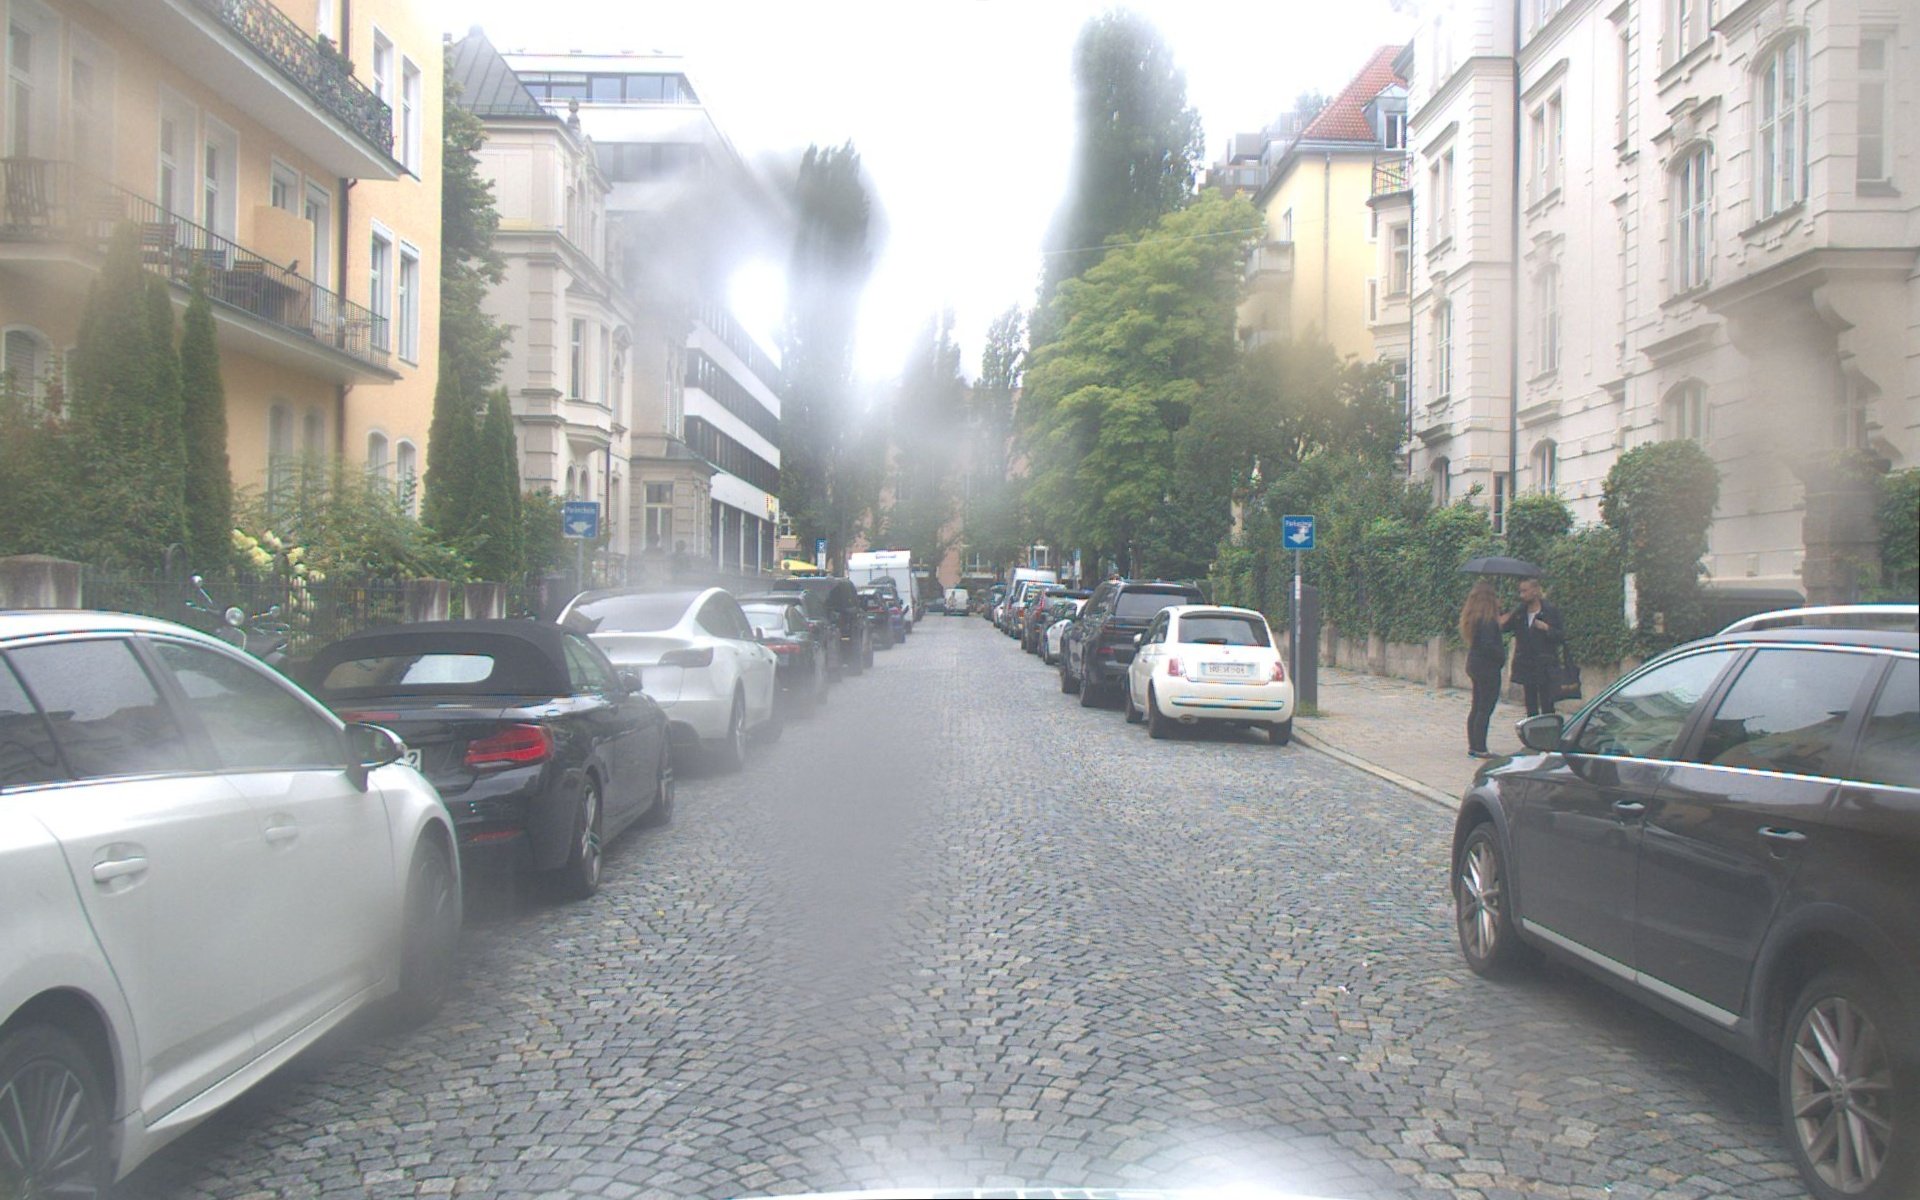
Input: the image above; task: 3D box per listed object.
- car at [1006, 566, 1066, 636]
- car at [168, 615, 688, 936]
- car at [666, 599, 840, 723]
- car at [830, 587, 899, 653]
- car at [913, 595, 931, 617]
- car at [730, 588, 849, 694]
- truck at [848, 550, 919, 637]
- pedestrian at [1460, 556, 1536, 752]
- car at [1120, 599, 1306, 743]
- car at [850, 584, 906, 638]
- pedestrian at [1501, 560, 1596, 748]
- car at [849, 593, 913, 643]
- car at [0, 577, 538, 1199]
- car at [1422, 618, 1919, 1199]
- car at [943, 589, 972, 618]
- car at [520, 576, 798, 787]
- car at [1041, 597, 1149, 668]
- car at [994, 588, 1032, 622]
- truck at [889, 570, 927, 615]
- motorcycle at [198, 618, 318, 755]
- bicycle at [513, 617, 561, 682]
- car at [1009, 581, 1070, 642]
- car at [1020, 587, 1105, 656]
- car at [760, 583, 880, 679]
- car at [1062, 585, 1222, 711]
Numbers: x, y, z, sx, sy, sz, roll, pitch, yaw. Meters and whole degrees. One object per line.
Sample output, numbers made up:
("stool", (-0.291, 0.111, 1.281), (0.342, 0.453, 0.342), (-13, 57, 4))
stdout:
("car", (2.900, -0.010, 64.217), (1.857, 2.468, 5.610), (4, 1, -1))
("car", (-2.706, 0.799, 9.513), (1.738, 1.383, 4.388), (1, 0, -3))
("car", (-2.601, 0.726, 21.712), (1.737, 1.454, 4.390), (1, 0, 0))
("car", (-2.628, 0.537, 46.239), (1.737, 1.748, 4.390), (1, 0, -1))
("car", (-2.688, 0.419, 117.507), (1.250, 1.568, 3.118), (1, 0, 0))
("car", (-2.819, 0.657, 28.055), (1.547, 1.618, 4.056), (-2, 0, 0))
("truck", (-2.832, -0.279, 62.885), (2.457, 3.084, 6.383), (-2, 1, -1))
("pedestrian", (5.279, 0.516, 16.262), (0.563, 1.882, 0.682), (0, 0, 4))
("car", (2.939, 0.776, 19.870), (1.597, 1.495, 3.658), (2, 0, 0))
("car", (-2.780, 0.346, 56.768), (1.856, 1.781, 4.166), (0, 0, -2))
("pedestrian", (5.931, 0.533, 16.677), (0.619, 1.840, 0.655), (1, 0, -23))
("car", (-2.422, 0.554, 51.584), (1.900, 1.485, 4.057), (1, 0, -1))
("car", (-2.595, 0.792, 4.385), (1.738, 1.563, 4.540), (-3, 0, 0))
("car", (3.021, 0.850, 5.306), (1.615, 1.446, 4.631), (4, 0, -1))
("car", (-0.170, 0.235, 115.384), (1.955, 1.970, 4.000), (0, 0, 1))
("car", (-2.635, 0.660, 15.503), (1.737, 1.676, 4.391), (1, 0, 1))
("car", (2.881, 0.670, 36.183), (1.738, 1.454, 4.387), (1, 0, -4))
("car", (2.449, 0.218, 76.645), (1.567, 1.512, 3.478), (1, 0, -1))
("truck", (-2.851, -0.402, 91.763), (1.953, 2.388, 4.067), (1, 0, 0))
("motorcycle", (-6.639, 0.791, 15.710), (0.481, 1.215, 1.579), (0, 0, -1))
("bicycle", (-6.931, 0.799, 27.130), (0.344, 1.020, 1.573), (1, 0, 1))
("car", (2.760, 0.388, 58.412), (1.764, 1.983, 4.859), (3, 0, -1))
("car", (2.763, 0.572, 45.569), (1.923, 1.789, 4.953), (1, 0, -1))
("car", (-2.715, 0.549, 33.156), (1.942, 1.768, 4.723), (1, 1, 1))
("car", (2.642, 0.658, 25.217), (1.836, 1.702, 5.491), (1, 0, 0))
